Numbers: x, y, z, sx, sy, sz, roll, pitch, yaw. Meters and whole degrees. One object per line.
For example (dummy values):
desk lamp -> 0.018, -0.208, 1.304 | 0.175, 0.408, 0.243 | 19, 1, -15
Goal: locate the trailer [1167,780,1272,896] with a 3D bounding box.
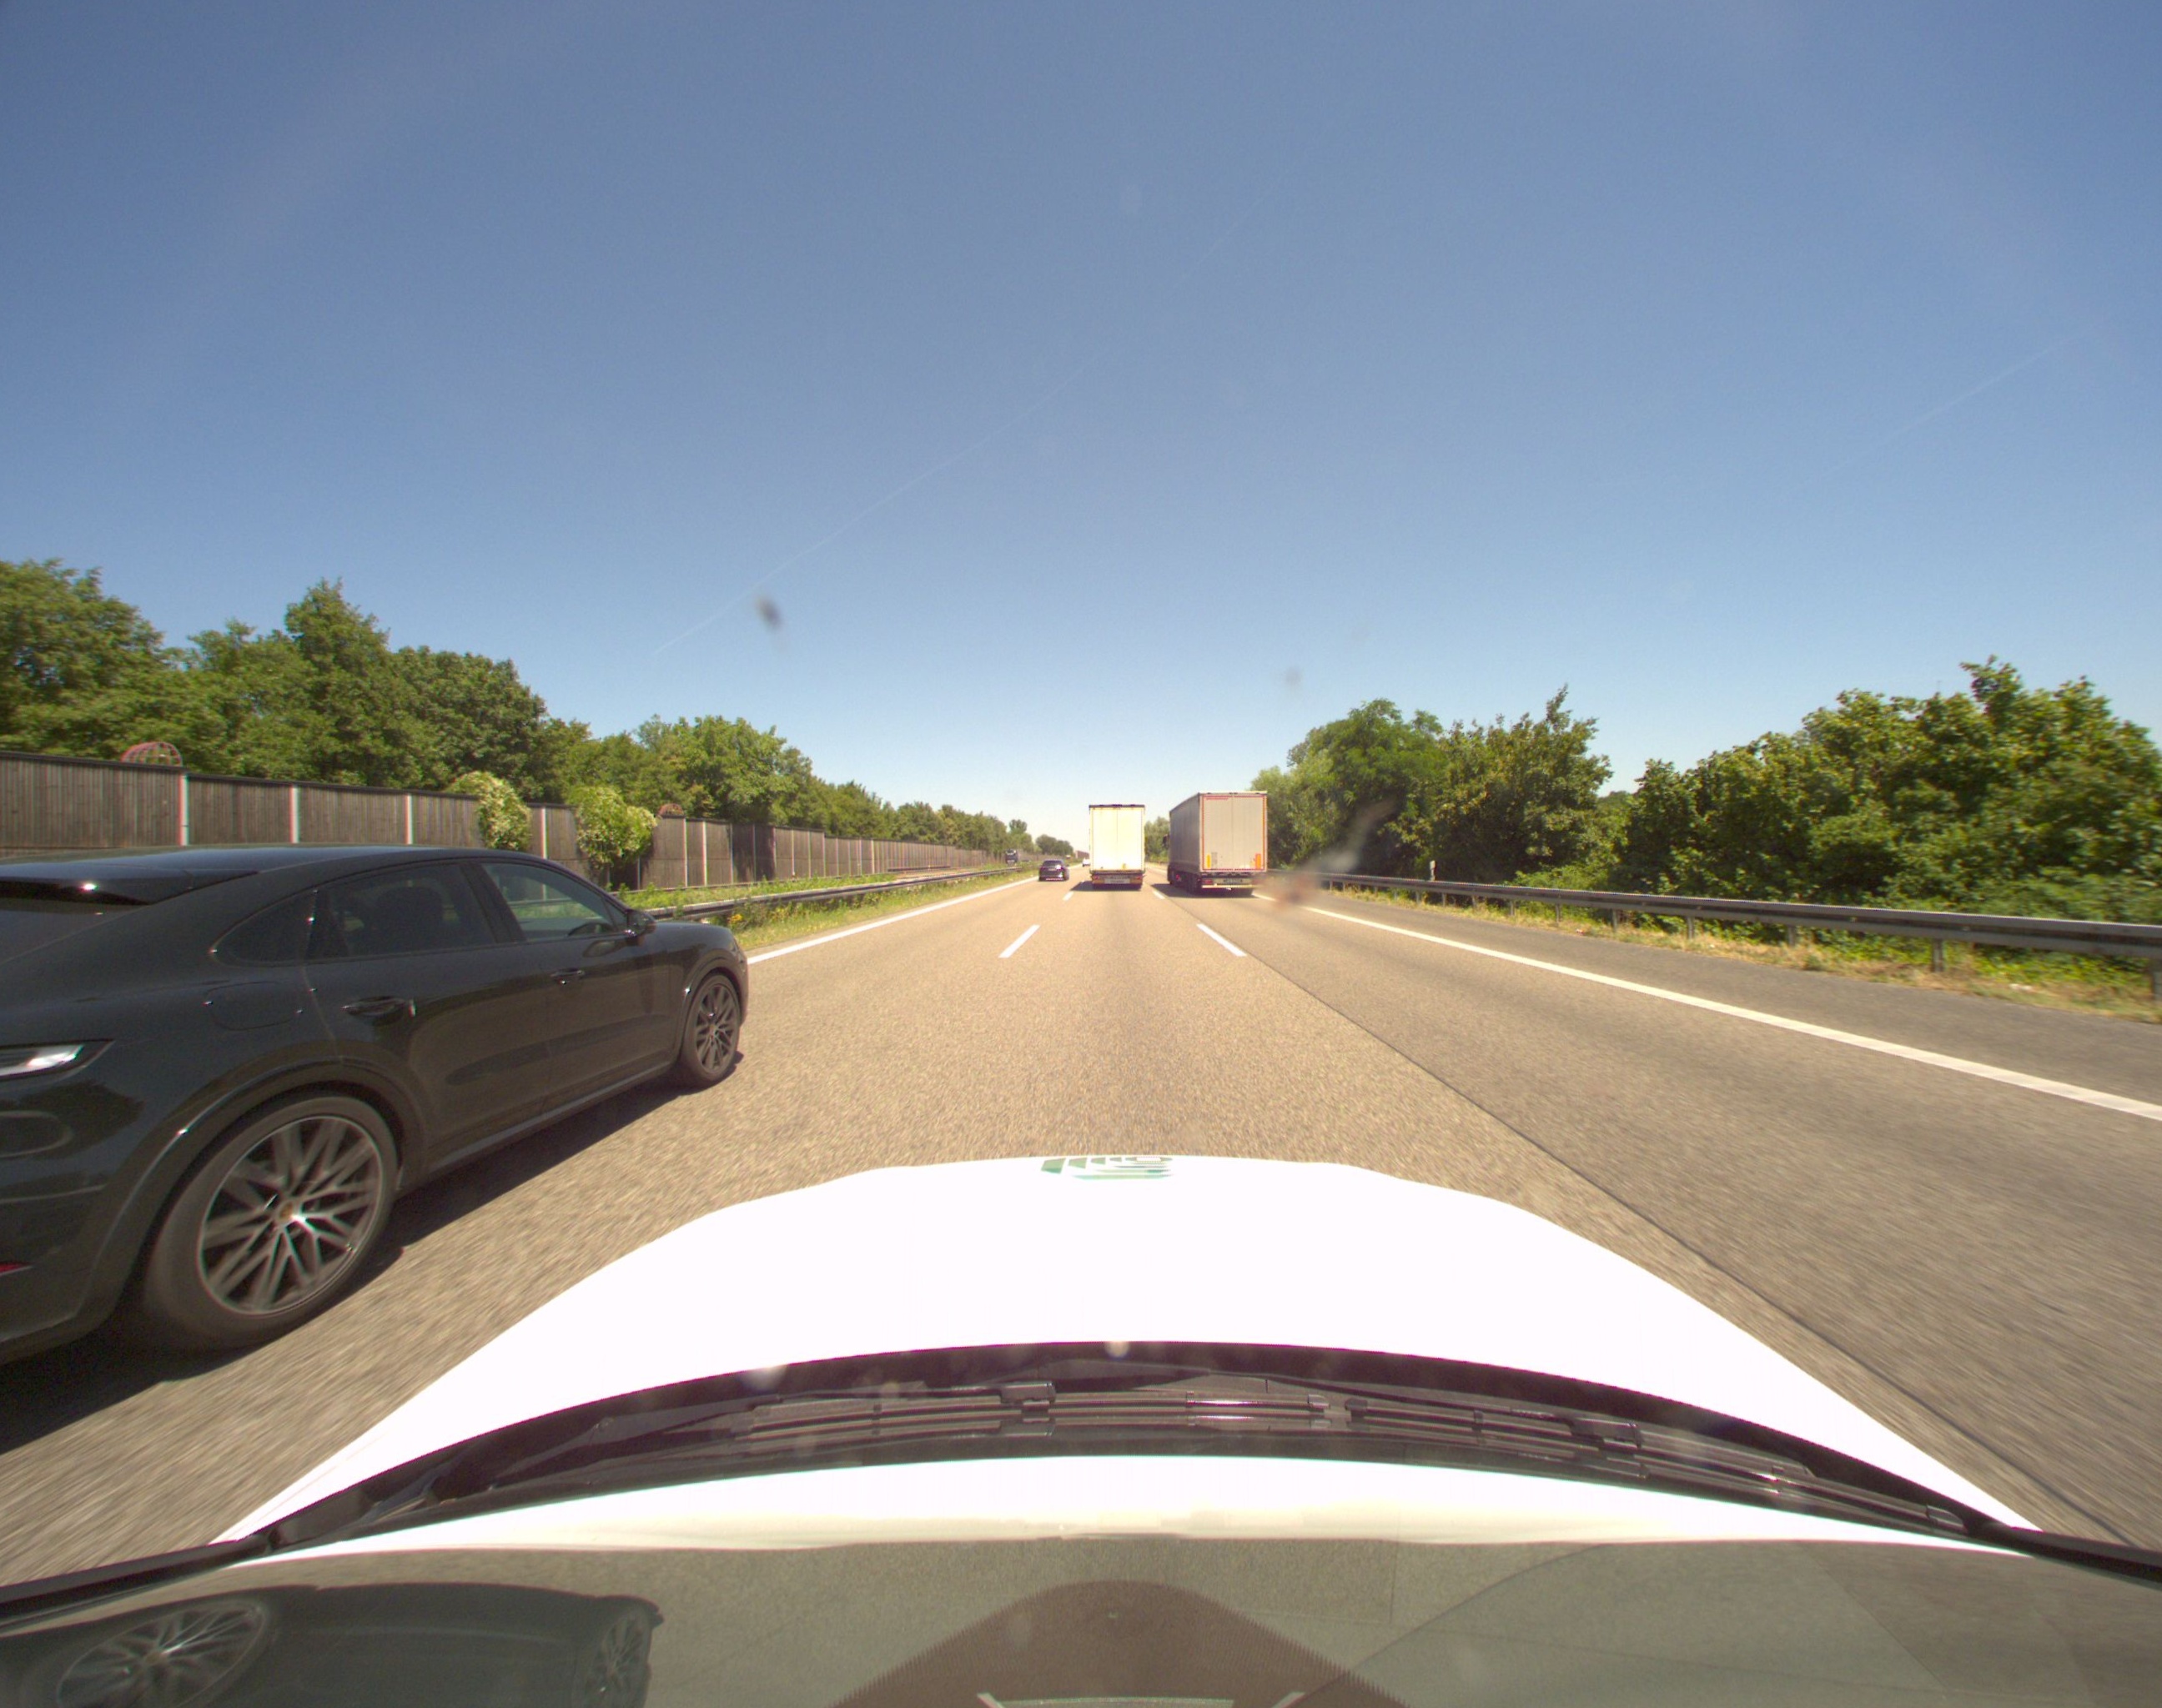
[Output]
trailer -> 5.834, -0.596, 36.903 | 2.693, 4.215, 13.215 | -2, 0, 1

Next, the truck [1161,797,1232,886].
truck -> 6.004, -0.594, 43.450 | 2.681, 4.215, 7.840 | -2, 0, 1

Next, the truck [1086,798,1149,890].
truck -> 1.831, -0.440, 43.928 | 2.697, 4.085, 13.477 | -2, 0, 1

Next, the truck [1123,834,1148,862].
truck -> 8.753, -0.925, 131.912 | 3.362, 4.303, 11.450 | 0, 0, 1

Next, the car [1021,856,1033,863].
car -> -11.125, 1.187, 168.609 | 1.953, 1.433, 4.881 | -2, 0, 1

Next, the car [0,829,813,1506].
car -> -3.539, 0.774, 4.391 | 2.036, 1.625, 5.775 | -2, 0, 2

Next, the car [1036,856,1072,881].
car -> -1.822, 0.979, 56.344 | 1.935, 1.506, 5.825 | -3, 0, 3

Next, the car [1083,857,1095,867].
car -> 1.309, 1.353, 133.041 | 1.848, 1.486, 4.002 | -3, 0, 2

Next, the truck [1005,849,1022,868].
truck -> -14.857, 0.983, 180.182 | 2.718, 4.085, 7.840 | -2, 0, 1
